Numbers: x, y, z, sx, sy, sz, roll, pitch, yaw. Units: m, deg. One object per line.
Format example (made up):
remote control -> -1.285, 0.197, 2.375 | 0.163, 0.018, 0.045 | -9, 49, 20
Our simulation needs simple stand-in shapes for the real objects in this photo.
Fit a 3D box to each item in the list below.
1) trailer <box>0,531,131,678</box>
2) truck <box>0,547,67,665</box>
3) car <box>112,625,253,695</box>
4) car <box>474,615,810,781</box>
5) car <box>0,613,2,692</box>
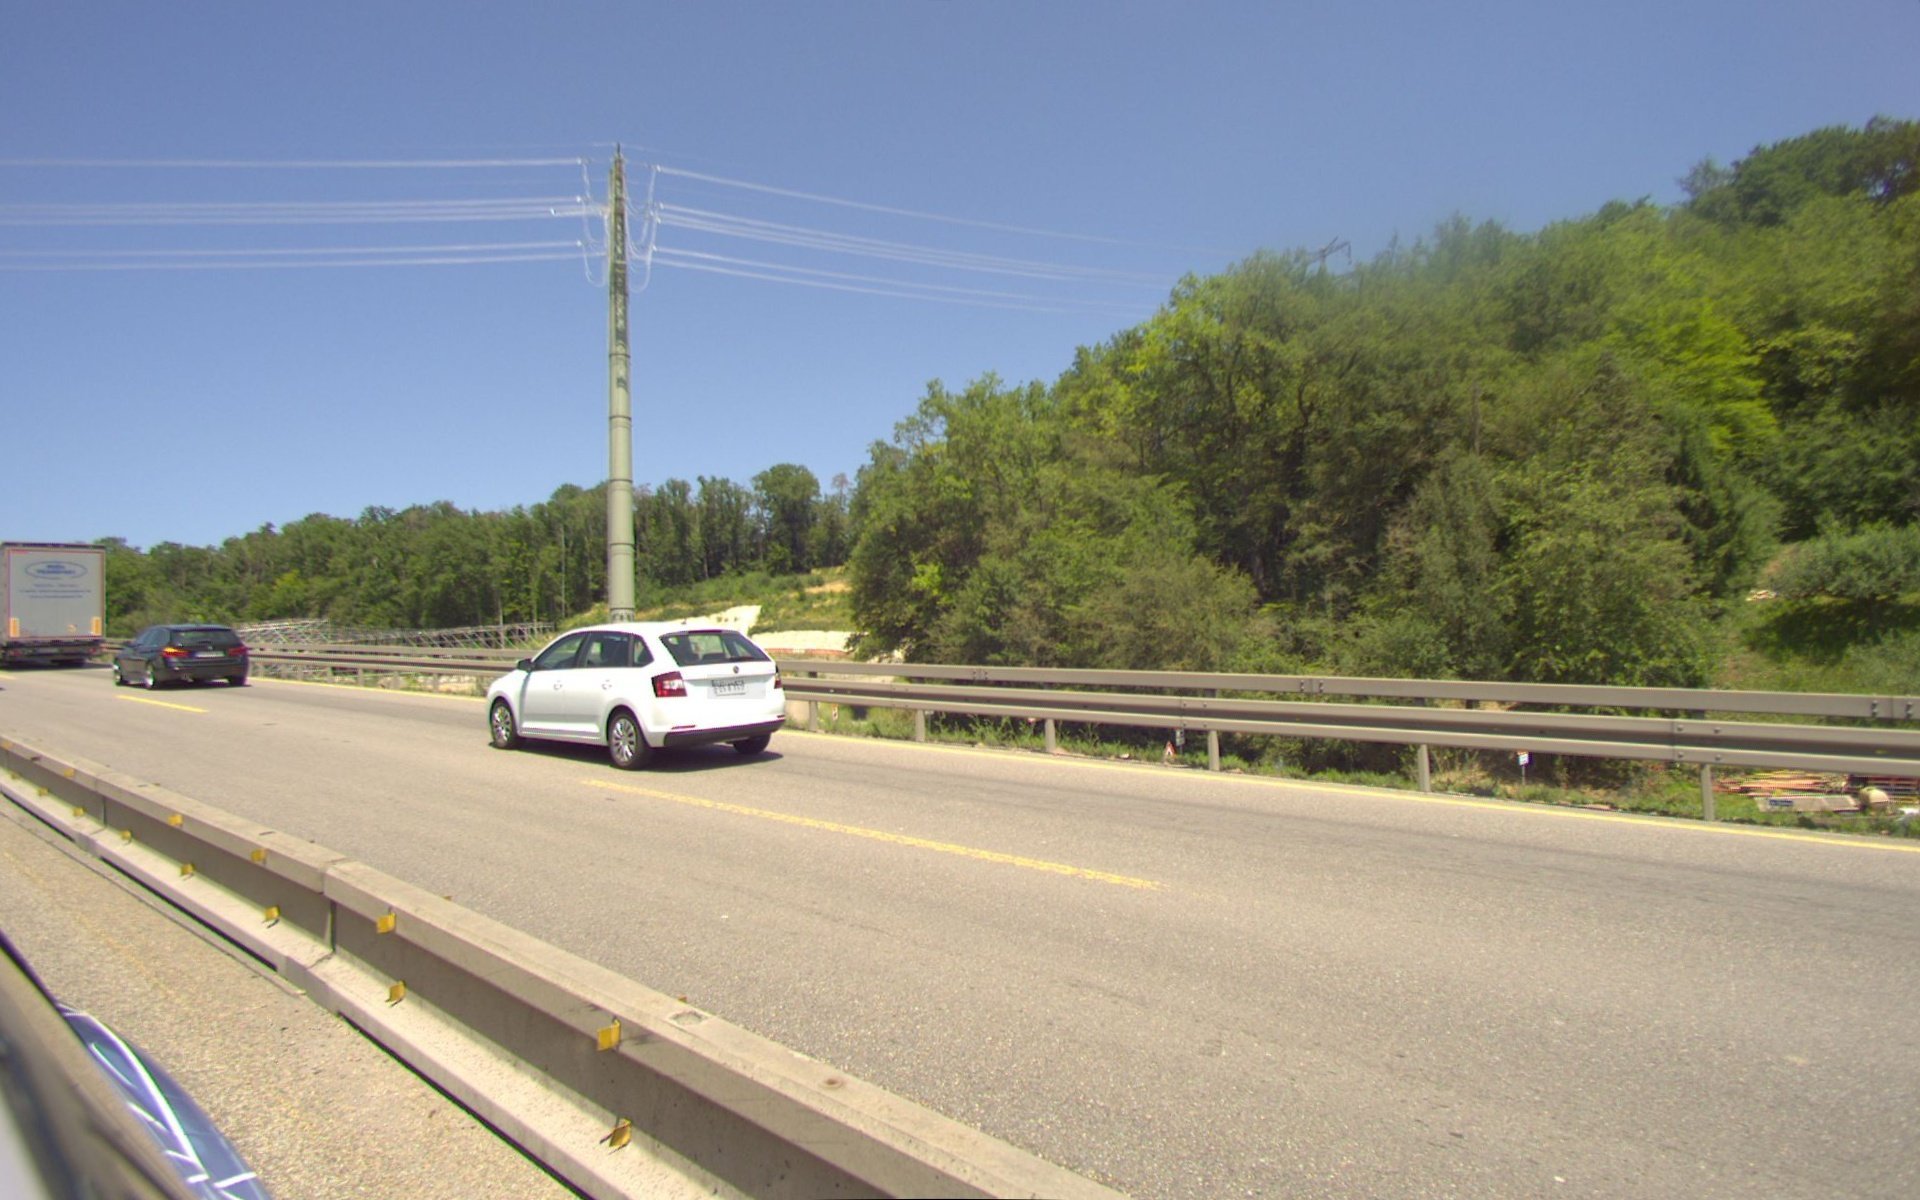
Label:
trailer -> -33.498, 0.204, 36.209 | 12.913, 4.520, 3.454 | -1, 0, 39
truck -> -38.782, 0.268, 40.537 | 7.268, 4.455, 3.363 | -1, 0, 39
car -> -18.150, 1.325, 23.550 | 4.300, 1.439, 1.758 | -1, -1, 41
car -> -3.605, 0.930, 11.138 | 3.997, 1.504, 1.682 | -1, -2, 41
car -> -23.652, 1.212, 23.236 | 4.227, 1.786, 1.842 | -1, 0, 39
